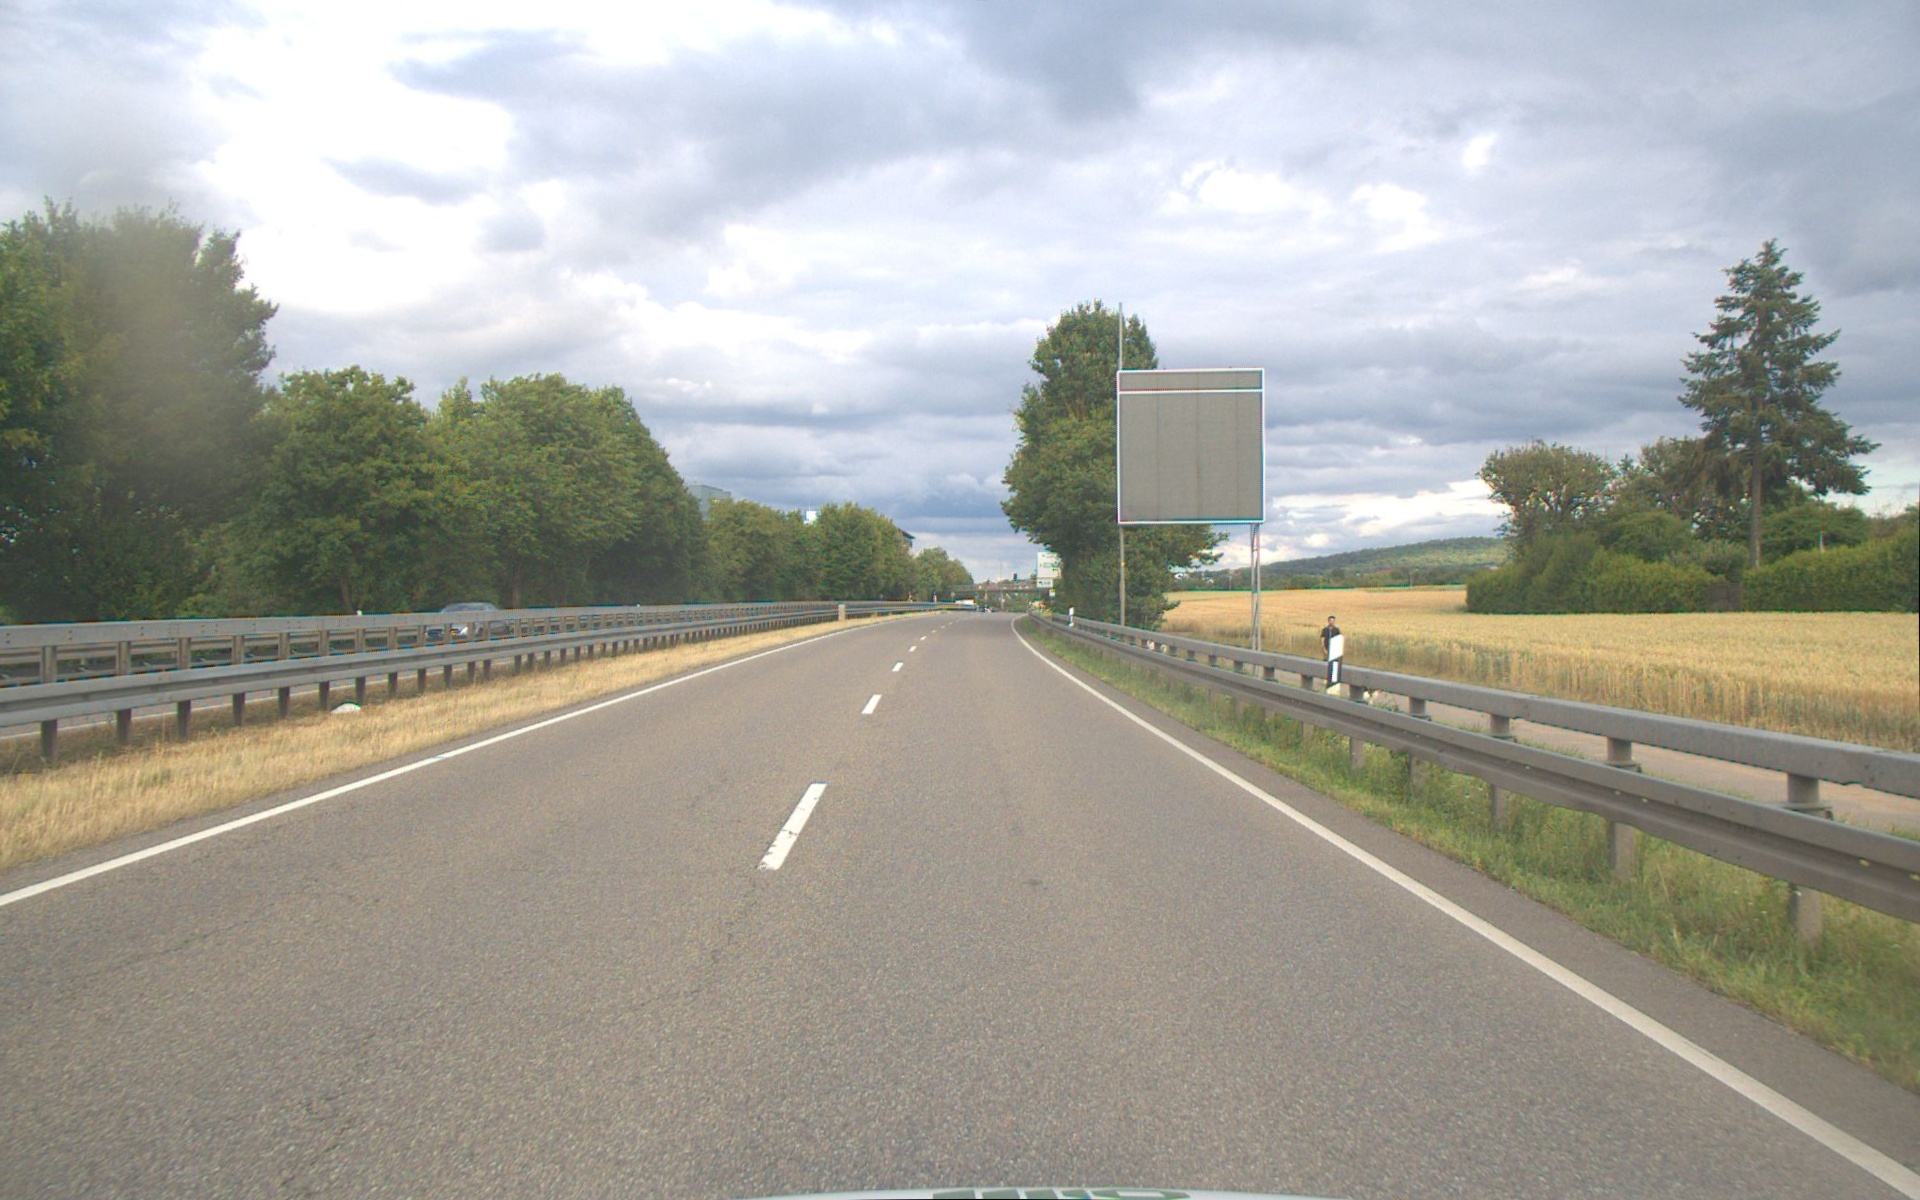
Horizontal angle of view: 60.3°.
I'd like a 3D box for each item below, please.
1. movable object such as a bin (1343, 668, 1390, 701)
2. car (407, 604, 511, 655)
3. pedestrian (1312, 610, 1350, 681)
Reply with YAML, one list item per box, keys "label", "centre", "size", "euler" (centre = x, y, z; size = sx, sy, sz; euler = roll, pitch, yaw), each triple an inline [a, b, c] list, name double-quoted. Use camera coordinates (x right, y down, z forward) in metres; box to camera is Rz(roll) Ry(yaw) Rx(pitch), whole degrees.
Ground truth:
- label: "movable object such as a bin"
  centre: [9.051, 1.877, 36.819]
  size: [0.717, 0.657, 1.235]
  euler: [2, 0, -1]
- label: "car"
  centre: [-14.896, 0.848, 49.444]
  size: [1.745, 1.375, 4.576]
  euler: [-1, 0, -1]
- label: "pedestrian"
  centre: [10.152, 1.229, 45.281]
  size: [0.755, 1.900, 0.940]
  euler: [2, -1, -1]
